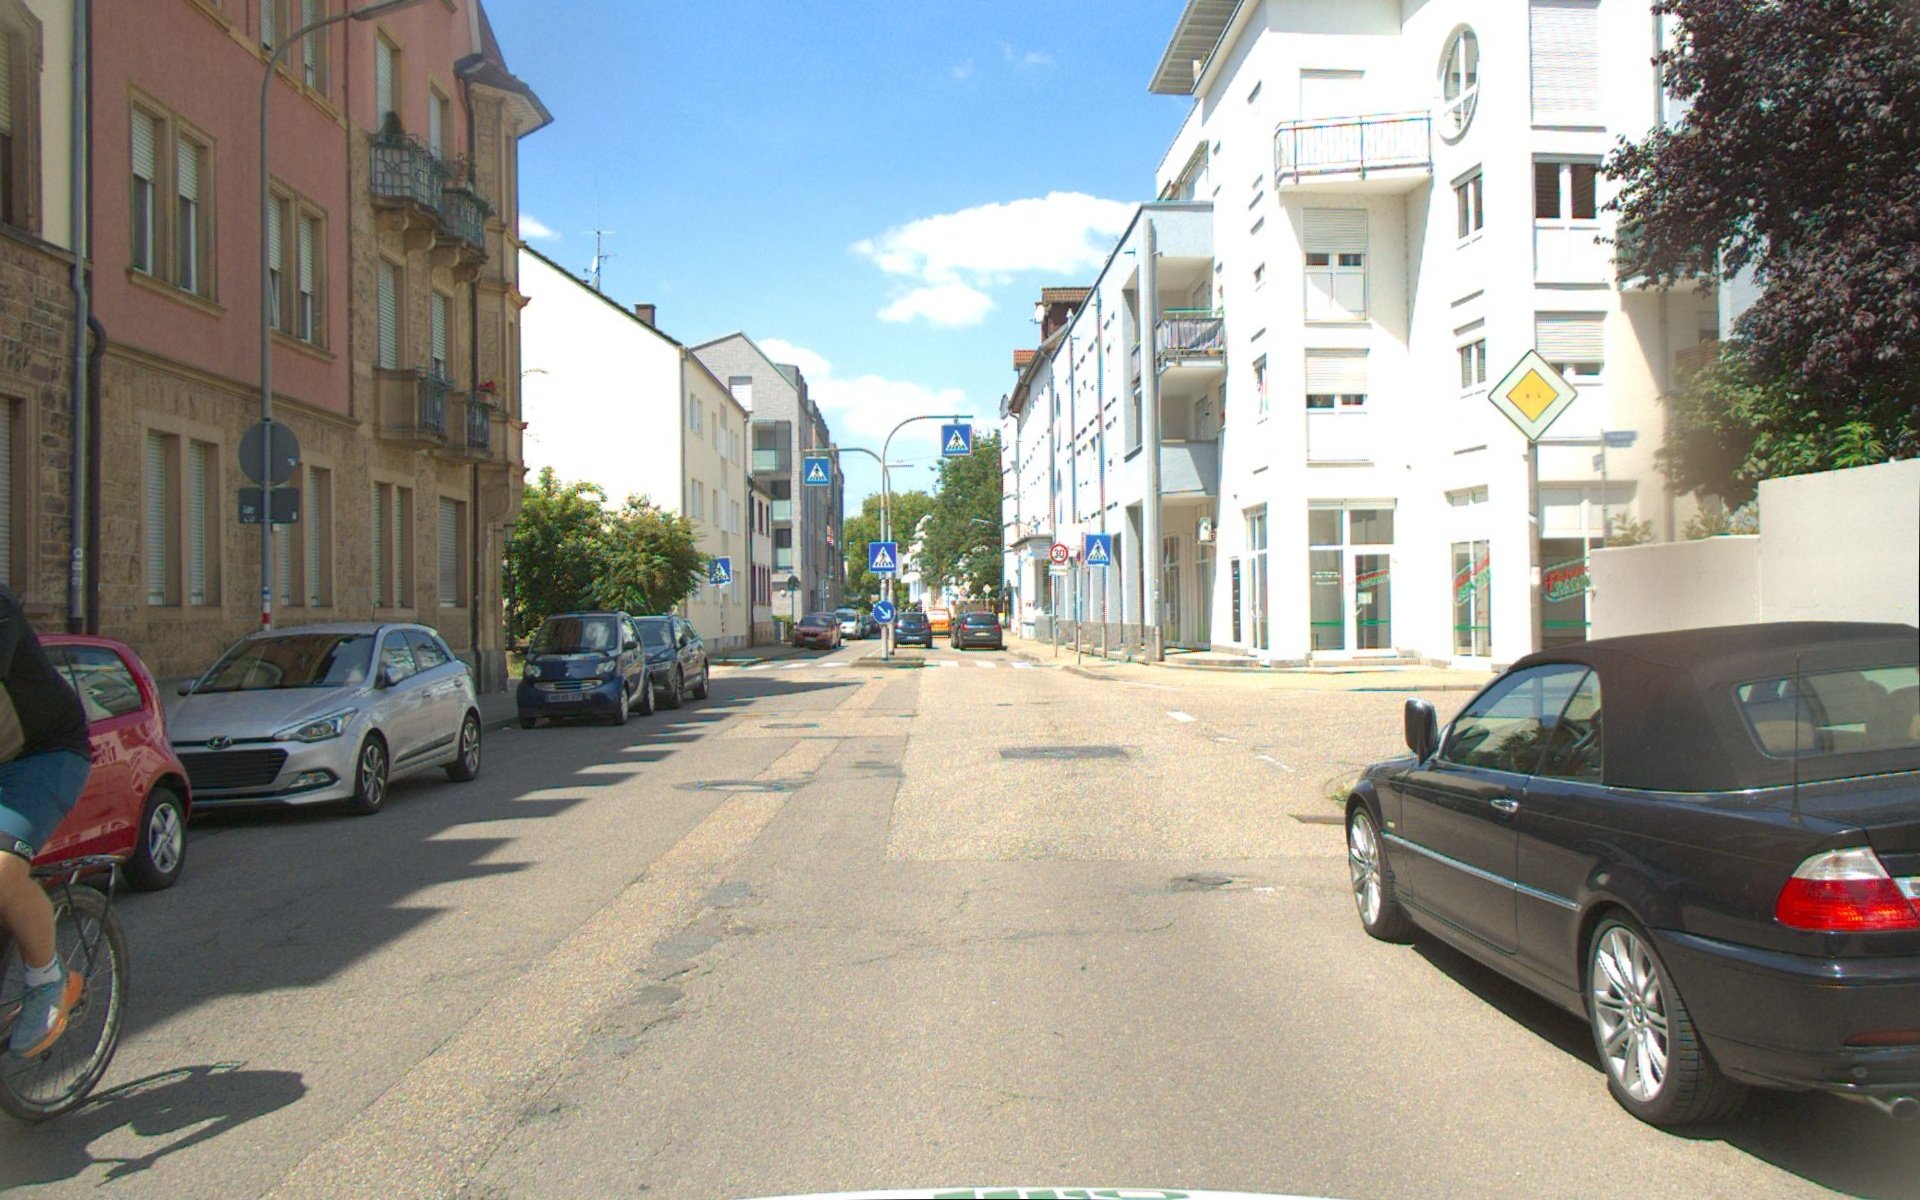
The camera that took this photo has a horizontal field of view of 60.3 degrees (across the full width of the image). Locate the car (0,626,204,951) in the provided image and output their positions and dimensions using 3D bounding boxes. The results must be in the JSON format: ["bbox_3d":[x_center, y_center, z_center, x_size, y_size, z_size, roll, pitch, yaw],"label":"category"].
[{"bbox_3d":[-5.226,0.905,8.026,1.566,1.467,3.494,-2,0,-2],"label":"car"}]

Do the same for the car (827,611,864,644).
[{"bbox_3d":[-6.938,1.653,100.698,1.720,1.925,4.337,1,0,2],"label":"car"}]

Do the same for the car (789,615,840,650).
[{"bbox_3d":[-6.413,1.416,73.189,1.796,1.441,4.290,-1,-1,1],"label":"car"}]

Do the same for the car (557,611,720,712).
[{"bbox_3d":[-5.243,0.964,27.557,1.746,1.484,4.634,-2,-1,0],"label":"car"}]

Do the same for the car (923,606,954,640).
[{"bbox_3d":[-1.346,1.403,101.952,1.802,2.049,3.999,-1,0,-1],"label":"car"}]

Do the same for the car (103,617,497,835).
[{"bbox_3d":[-5.264,0.917,13.792,1.601,1.456,4.018,-3,0,0],"label":"car"}]

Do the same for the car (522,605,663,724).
[{"bbox_3d":[-5.140,0.877,23.400,1.407,1.549,2.695,-1,-1,-1],"label":"car"}]

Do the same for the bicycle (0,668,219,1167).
[{"bbox_3d":[-2.713,0.880,4.545,0.223,1.297,1.884,-4,-1,7],"label":"bicycle"}]

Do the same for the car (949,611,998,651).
[{"bbox_3d":[0.512,1.225,65.803,1.676,1.534,3.997,-1,-1,-3],"label":"car"}]

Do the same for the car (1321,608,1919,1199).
[{"bbox_3d":[2.706,0.749,6.131,1.623,1.400,4.237,-1,0,-2],"label":"car"}]

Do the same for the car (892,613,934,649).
[{"bbox_3d":[-1.980,1.284,69.382,1.681,1.427,3.999,-1,0,-1],"label":"car"}]

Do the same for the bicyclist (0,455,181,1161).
[{"bbox_3d":[-2.752,0.536,4.423,0.628,1.793,1.168,-3,-1,6],"label":"bicyclist"}]
